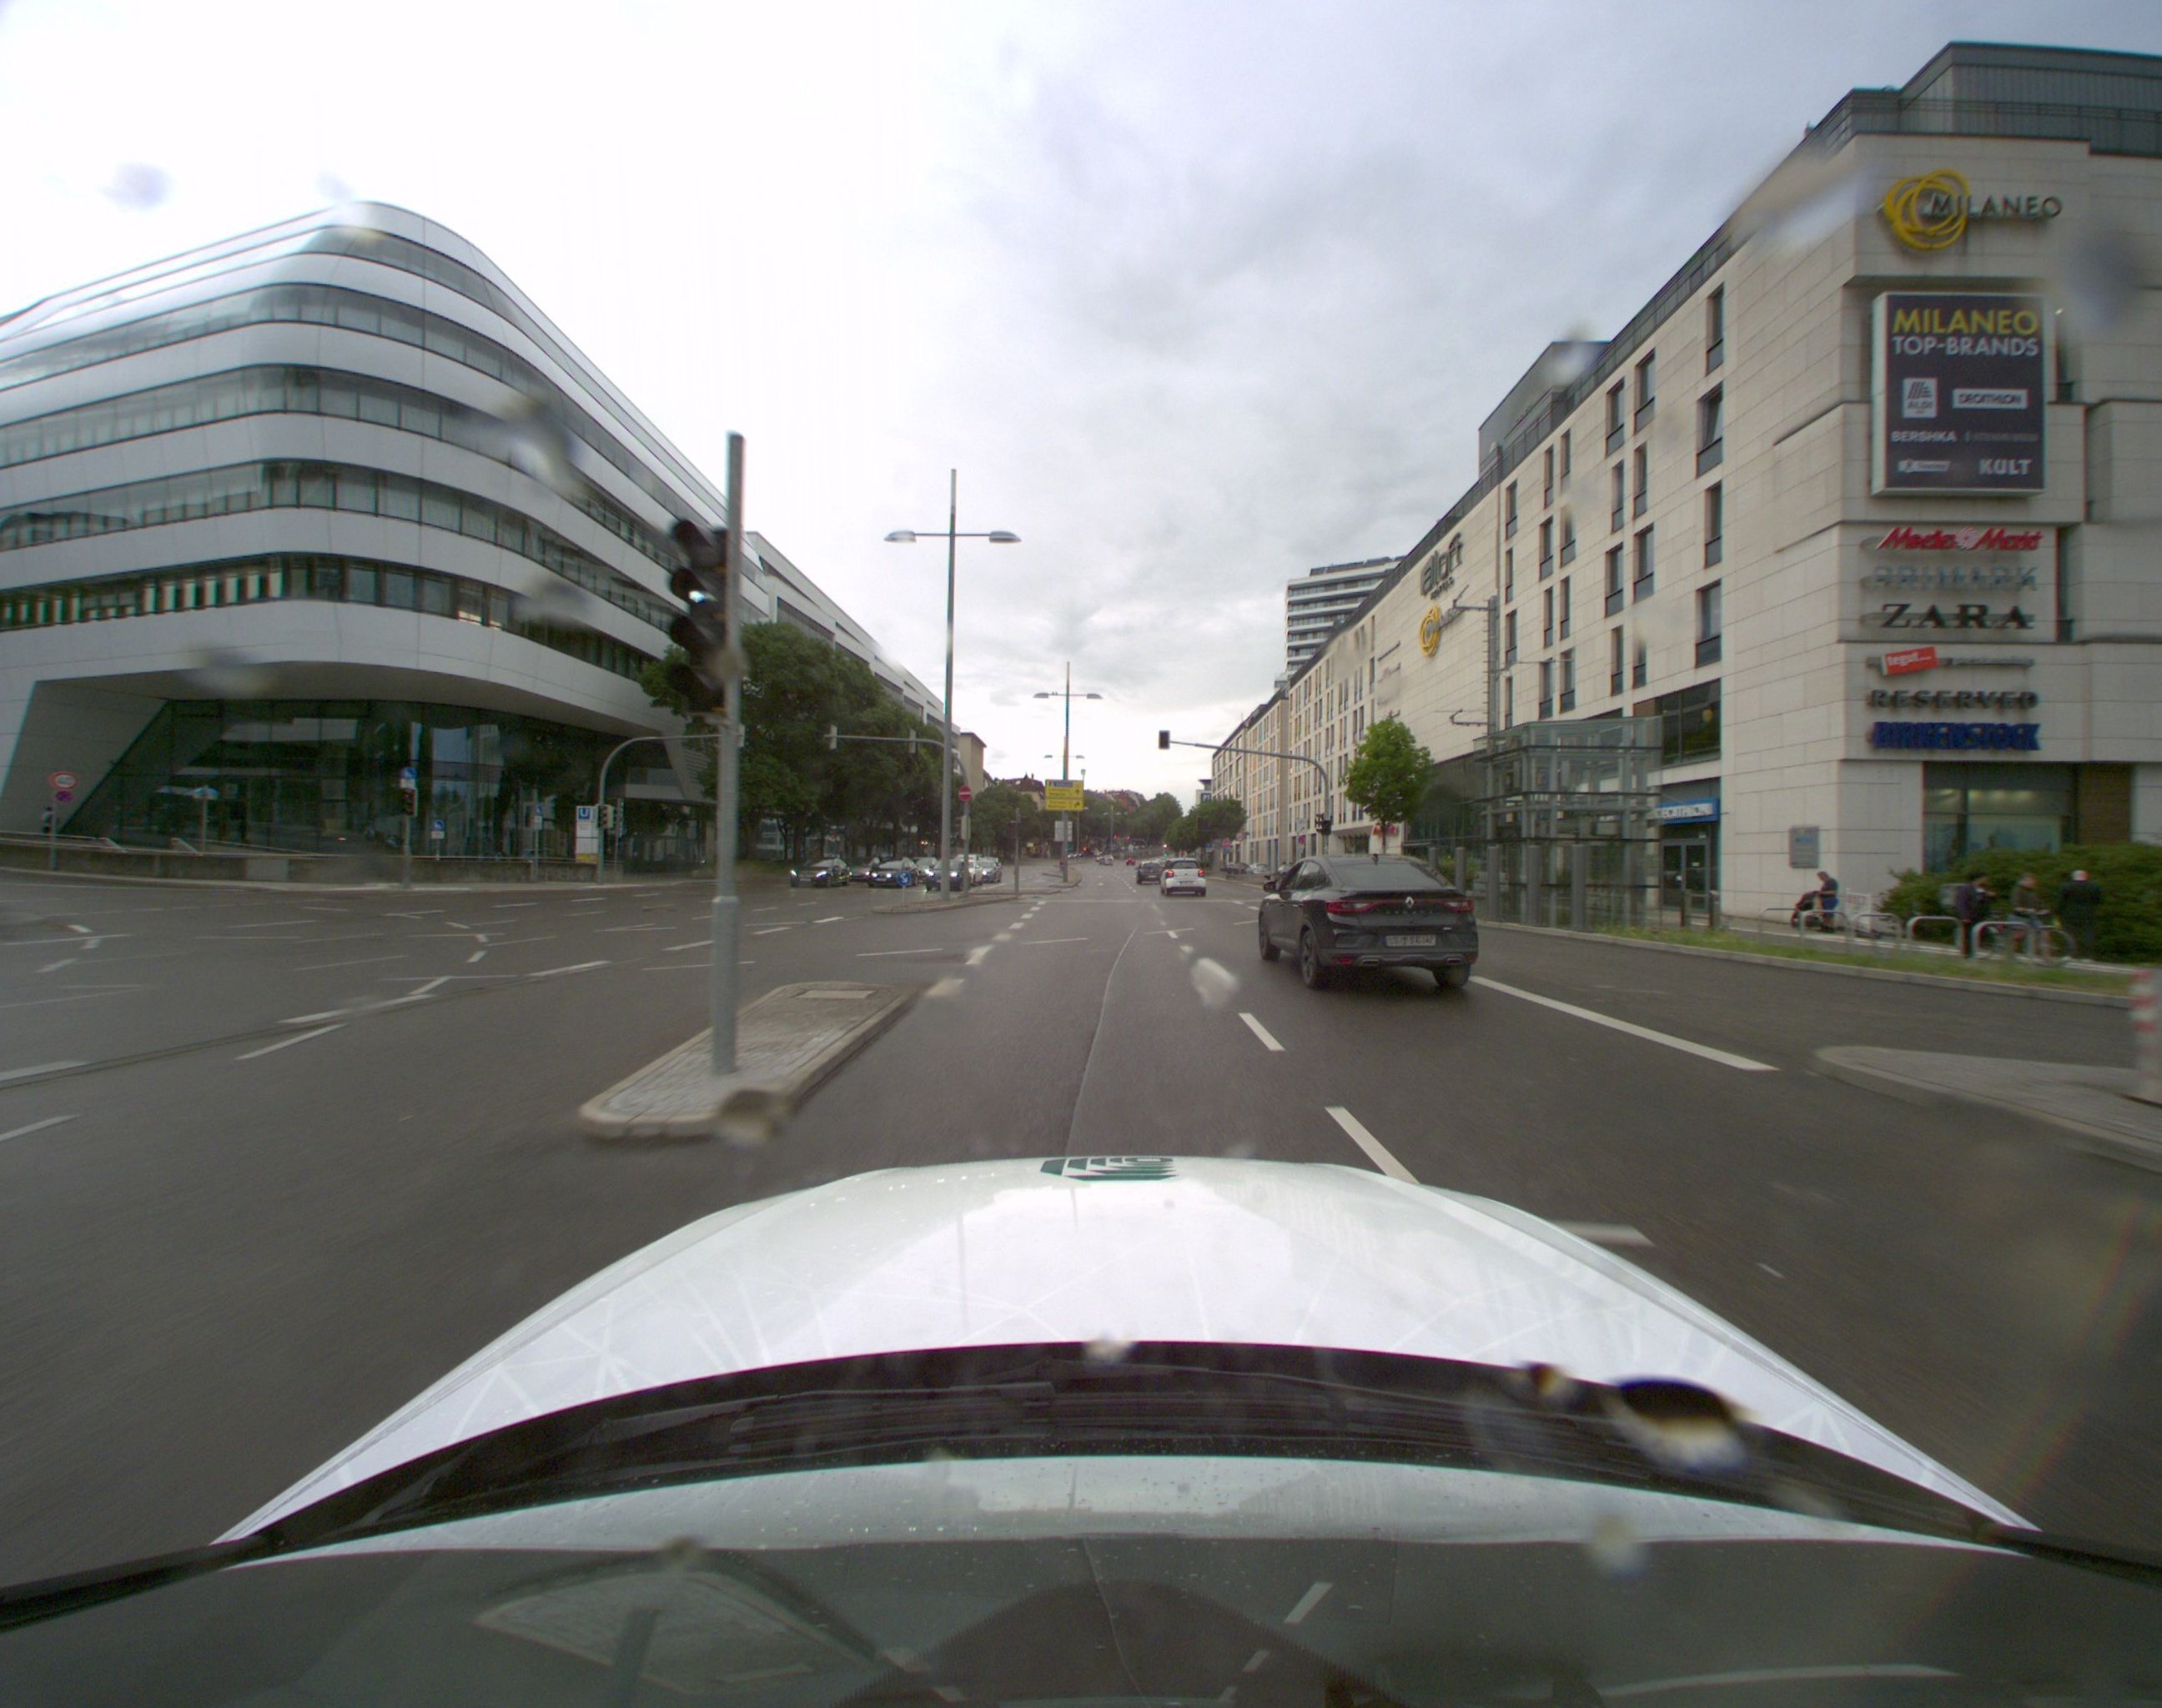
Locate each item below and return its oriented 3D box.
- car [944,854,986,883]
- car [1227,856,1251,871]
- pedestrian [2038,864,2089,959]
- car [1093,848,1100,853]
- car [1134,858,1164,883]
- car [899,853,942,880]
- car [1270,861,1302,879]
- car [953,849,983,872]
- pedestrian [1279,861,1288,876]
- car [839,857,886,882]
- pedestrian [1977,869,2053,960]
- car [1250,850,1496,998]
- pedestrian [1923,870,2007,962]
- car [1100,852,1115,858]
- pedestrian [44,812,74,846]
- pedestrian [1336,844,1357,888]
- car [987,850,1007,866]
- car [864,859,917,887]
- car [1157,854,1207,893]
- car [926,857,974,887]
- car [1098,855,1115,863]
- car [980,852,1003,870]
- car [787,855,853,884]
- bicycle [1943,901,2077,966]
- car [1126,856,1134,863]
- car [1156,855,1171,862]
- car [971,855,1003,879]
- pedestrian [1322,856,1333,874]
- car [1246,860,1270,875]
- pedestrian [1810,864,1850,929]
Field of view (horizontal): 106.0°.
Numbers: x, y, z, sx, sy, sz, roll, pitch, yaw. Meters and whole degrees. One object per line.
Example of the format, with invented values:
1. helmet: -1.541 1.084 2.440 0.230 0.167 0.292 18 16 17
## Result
1. car: -6.588 0.815 46.634 1.696 1.559 4.246 0 -1 2
2. car: 15.093 0.913 77.763 1.655 1.400 3.834 0 -1 2
3. pedestrian: 18.897 1.083 15.671 0.443 1.780 0.588 0 -1 -40
4. car: 4.748 -1.223 255.447 1.730 1.531 3.823 0 0 9
5. car: 4.368 1.057 52.897 1.733 1.531 3.815 0 -1 2
6. car: -9.474 0.741 48.411 1.736 1.559 3.541 0 -1 2
7. car: 14.648 1.137 58.408 1.500 1.266 3.503 0 -1 2
8. car: -8.895 0.492 64.192 1.736 1.748 3.541 0 -1 2
9. pedestrian: 19.987 1.428 80.294 0.671 1.528 0.727 0 -1 1
10. car: -12.877 0.912 48.173 1.736 1.423 3.541 0 -1 2
11. pedestrian: 16.940 1.074 14.788 0.548 1.611 0.698 0 -1 1
12. car: 3.498 0.723 10.669 1.784 1.506 4.340 0 1 1
13. pedestrian: 16.049 1.101 14.805 0.610 1.611 0.819 0 -1 2
14. car: 6.987 0.372 212.901 3.796 1.531 1.742 0 0 -6
15. pedestrian: -47.922 -1.162 38.205 0.625 1.565 0.684 -1 -1 18
16. pedestrian: 11.211 0.494 34.396 0.724 1.832 0.510 0 -1 1
17. car: -9.176 0.474 89.130 1.736 1.748 3.541 0 -1 2
18. car: -9.627 0.940 41.440 1.737 1.257 3.541 1 1 2
19. car: 4.182 0.786 34.177 1.718 1.531 3.815 0 -1 2
20. car: -6.455 0.878 40.343 1.736 1.444 3.396 0 -1 2
21. car: 5.295 0.987 168.810 1.750 1.531 3.779 -1 0 -28
22. car: -8.590 0.680 78.458 1.736 1.748 3.541 0 -1 2
23. car: -12.743 0.754 40.027 1.736 1.328 4.227 0 -1 2
24. bicycle: 16.597 1.389 14.610 0.447 1.016 1.743 0 -1 2
25. car: 10.766 1.118 178.910 1.733 1.531 3.815 0 -1 2
26. car: 21.318 1.168 210.819 3.778 1.531 1.750 0 0 10
27. car: -6.046 0.852 52.615 1.532 1.477 3.697 0 -1 2
28. pedestrian: 21.248 0.945 70.179 0.671 1.528 0.727 0 -1 1
29. car: 15.692 1.216 72.249 1.500 1.266 3.503 0 -1 2
30. pedestrian: 19.281 1.076 20.975 0.588 1.642 0.591 -1 -1 26
